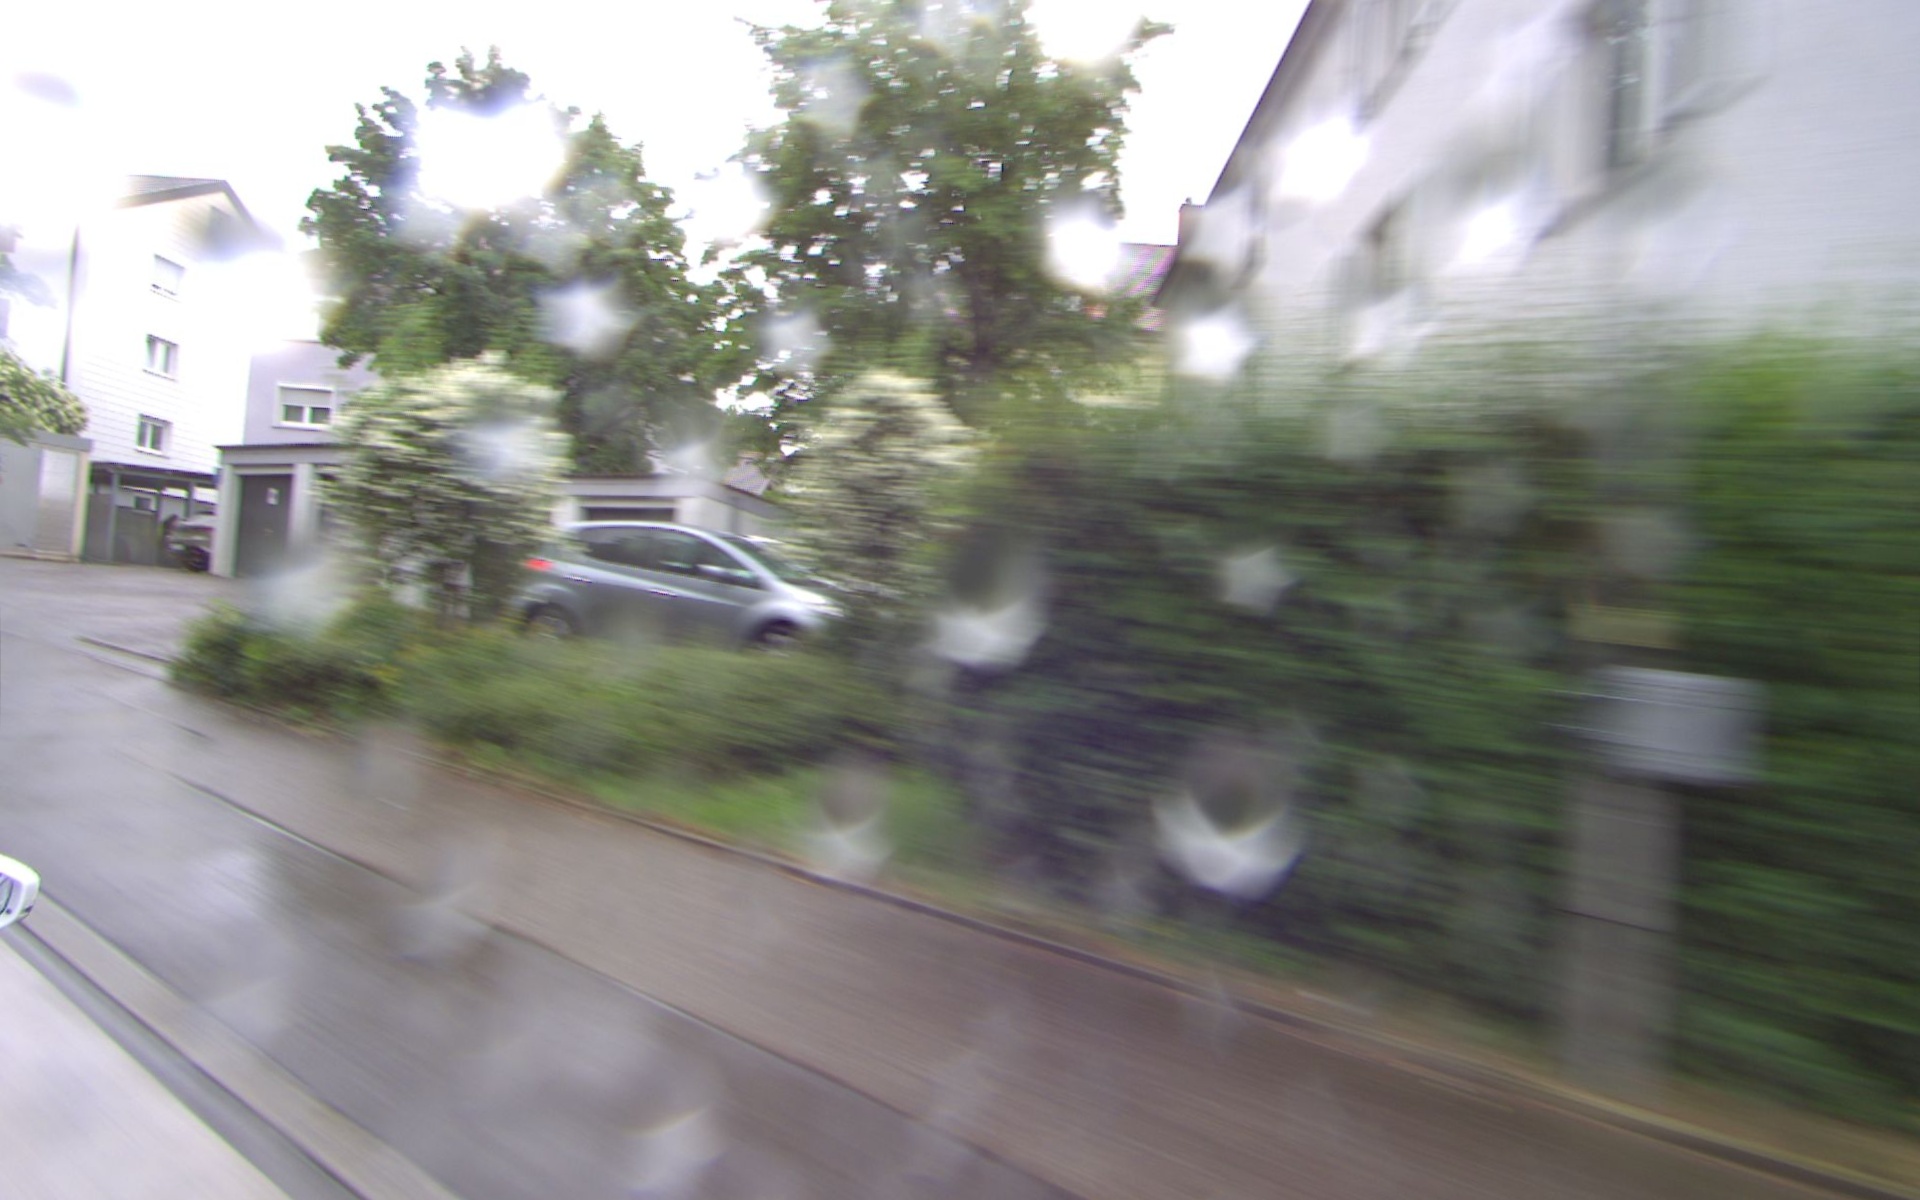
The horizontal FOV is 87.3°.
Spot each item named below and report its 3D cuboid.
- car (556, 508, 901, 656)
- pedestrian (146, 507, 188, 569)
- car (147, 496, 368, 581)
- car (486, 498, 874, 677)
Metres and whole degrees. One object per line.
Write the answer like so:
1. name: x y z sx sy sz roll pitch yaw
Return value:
1. car: -3.110 -0.275 13.756 4.175 1.615 1.795 4 2 14
2. pedestrian: -22.589 -1.767 28.664 0.605 1.655 0.582 8 0 27
3. car: -15.965 -1.357 23.060 1.765 1.448 3.708 5 -1 27
4. car: -3.021 -0.166 11.196 3.722 1.584 1.723 4 2 9
